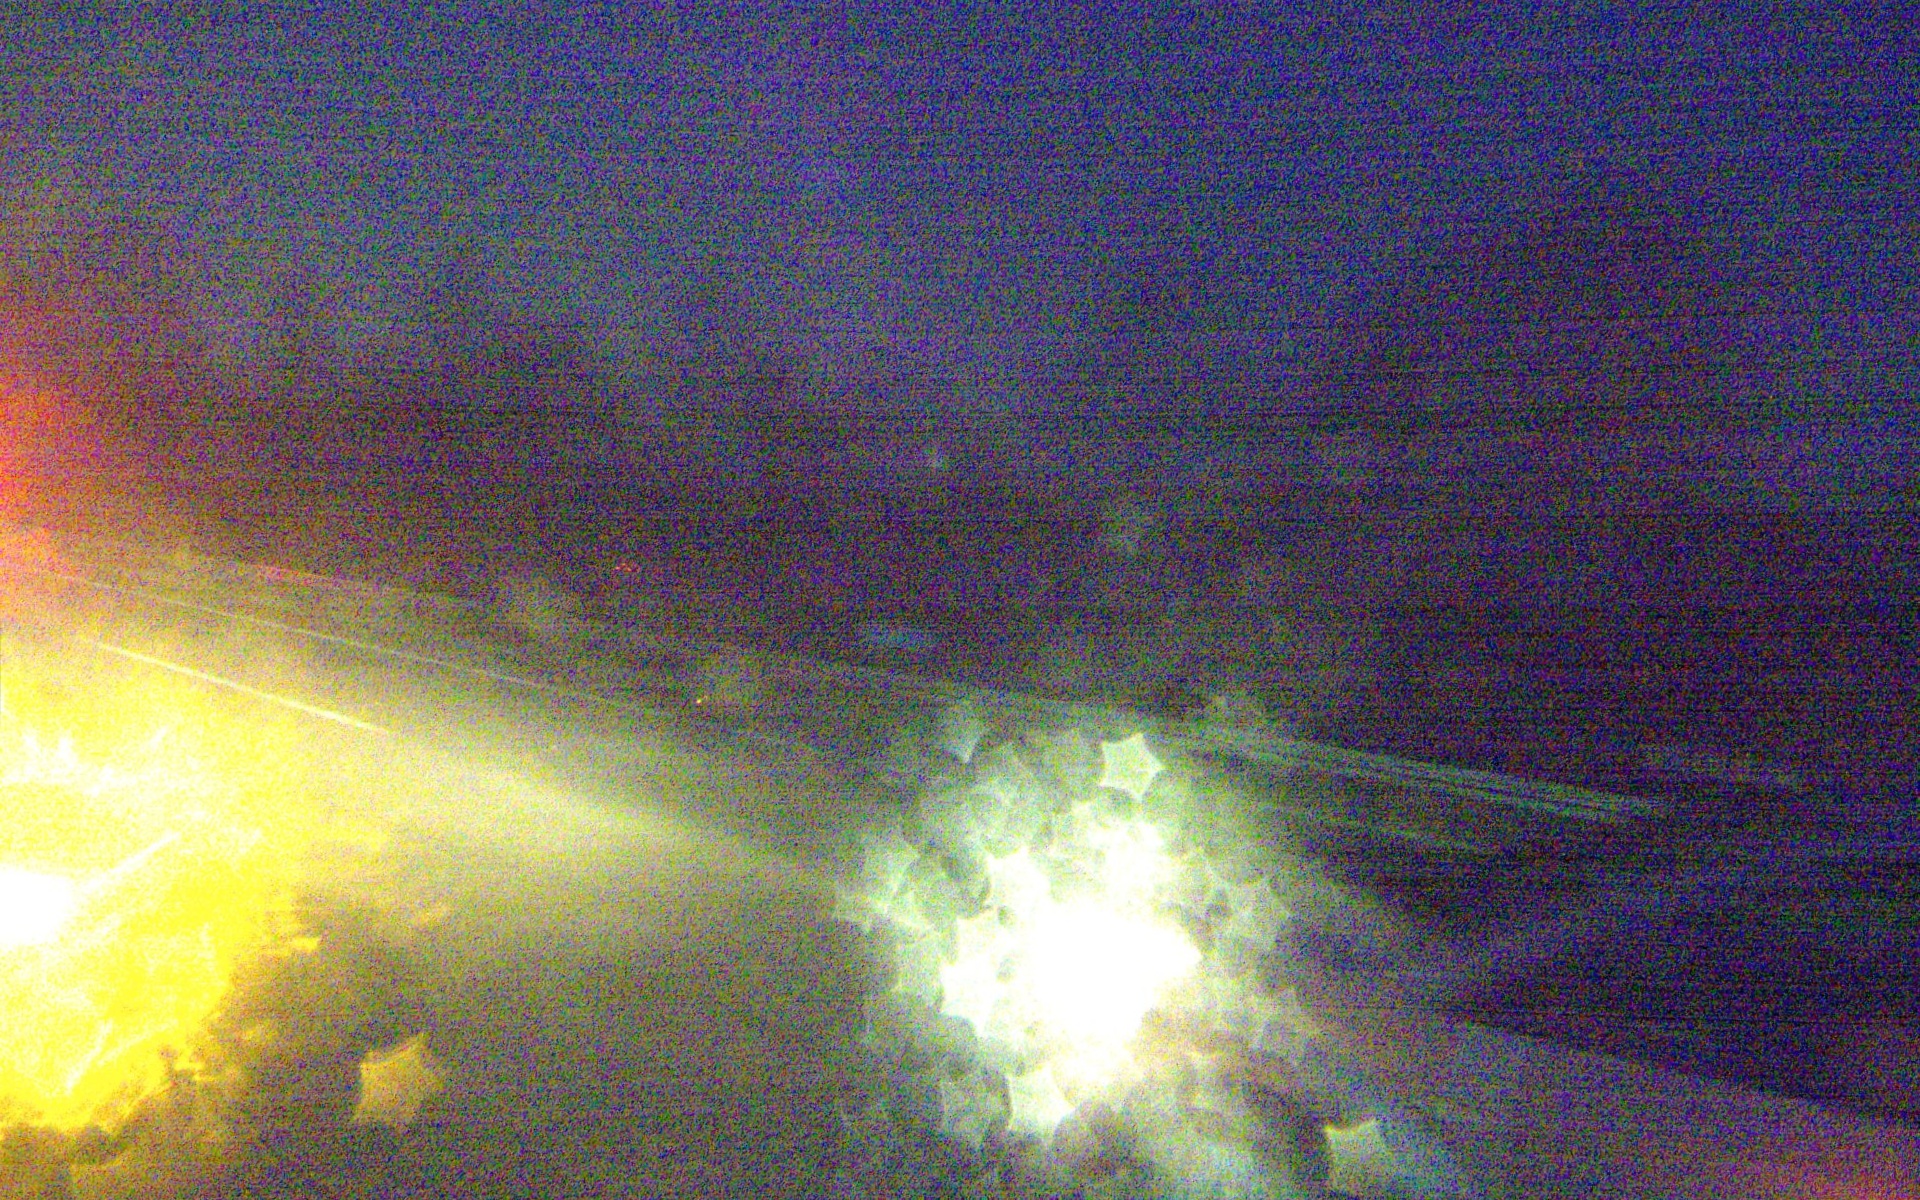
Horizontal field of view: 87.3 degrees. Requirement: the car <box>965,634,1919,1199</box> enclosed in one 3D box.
[{"bbox_3d":[2.290,1.105,2.167,4.125,1.474,1.773,7,-1,31],"label":"car"}]
